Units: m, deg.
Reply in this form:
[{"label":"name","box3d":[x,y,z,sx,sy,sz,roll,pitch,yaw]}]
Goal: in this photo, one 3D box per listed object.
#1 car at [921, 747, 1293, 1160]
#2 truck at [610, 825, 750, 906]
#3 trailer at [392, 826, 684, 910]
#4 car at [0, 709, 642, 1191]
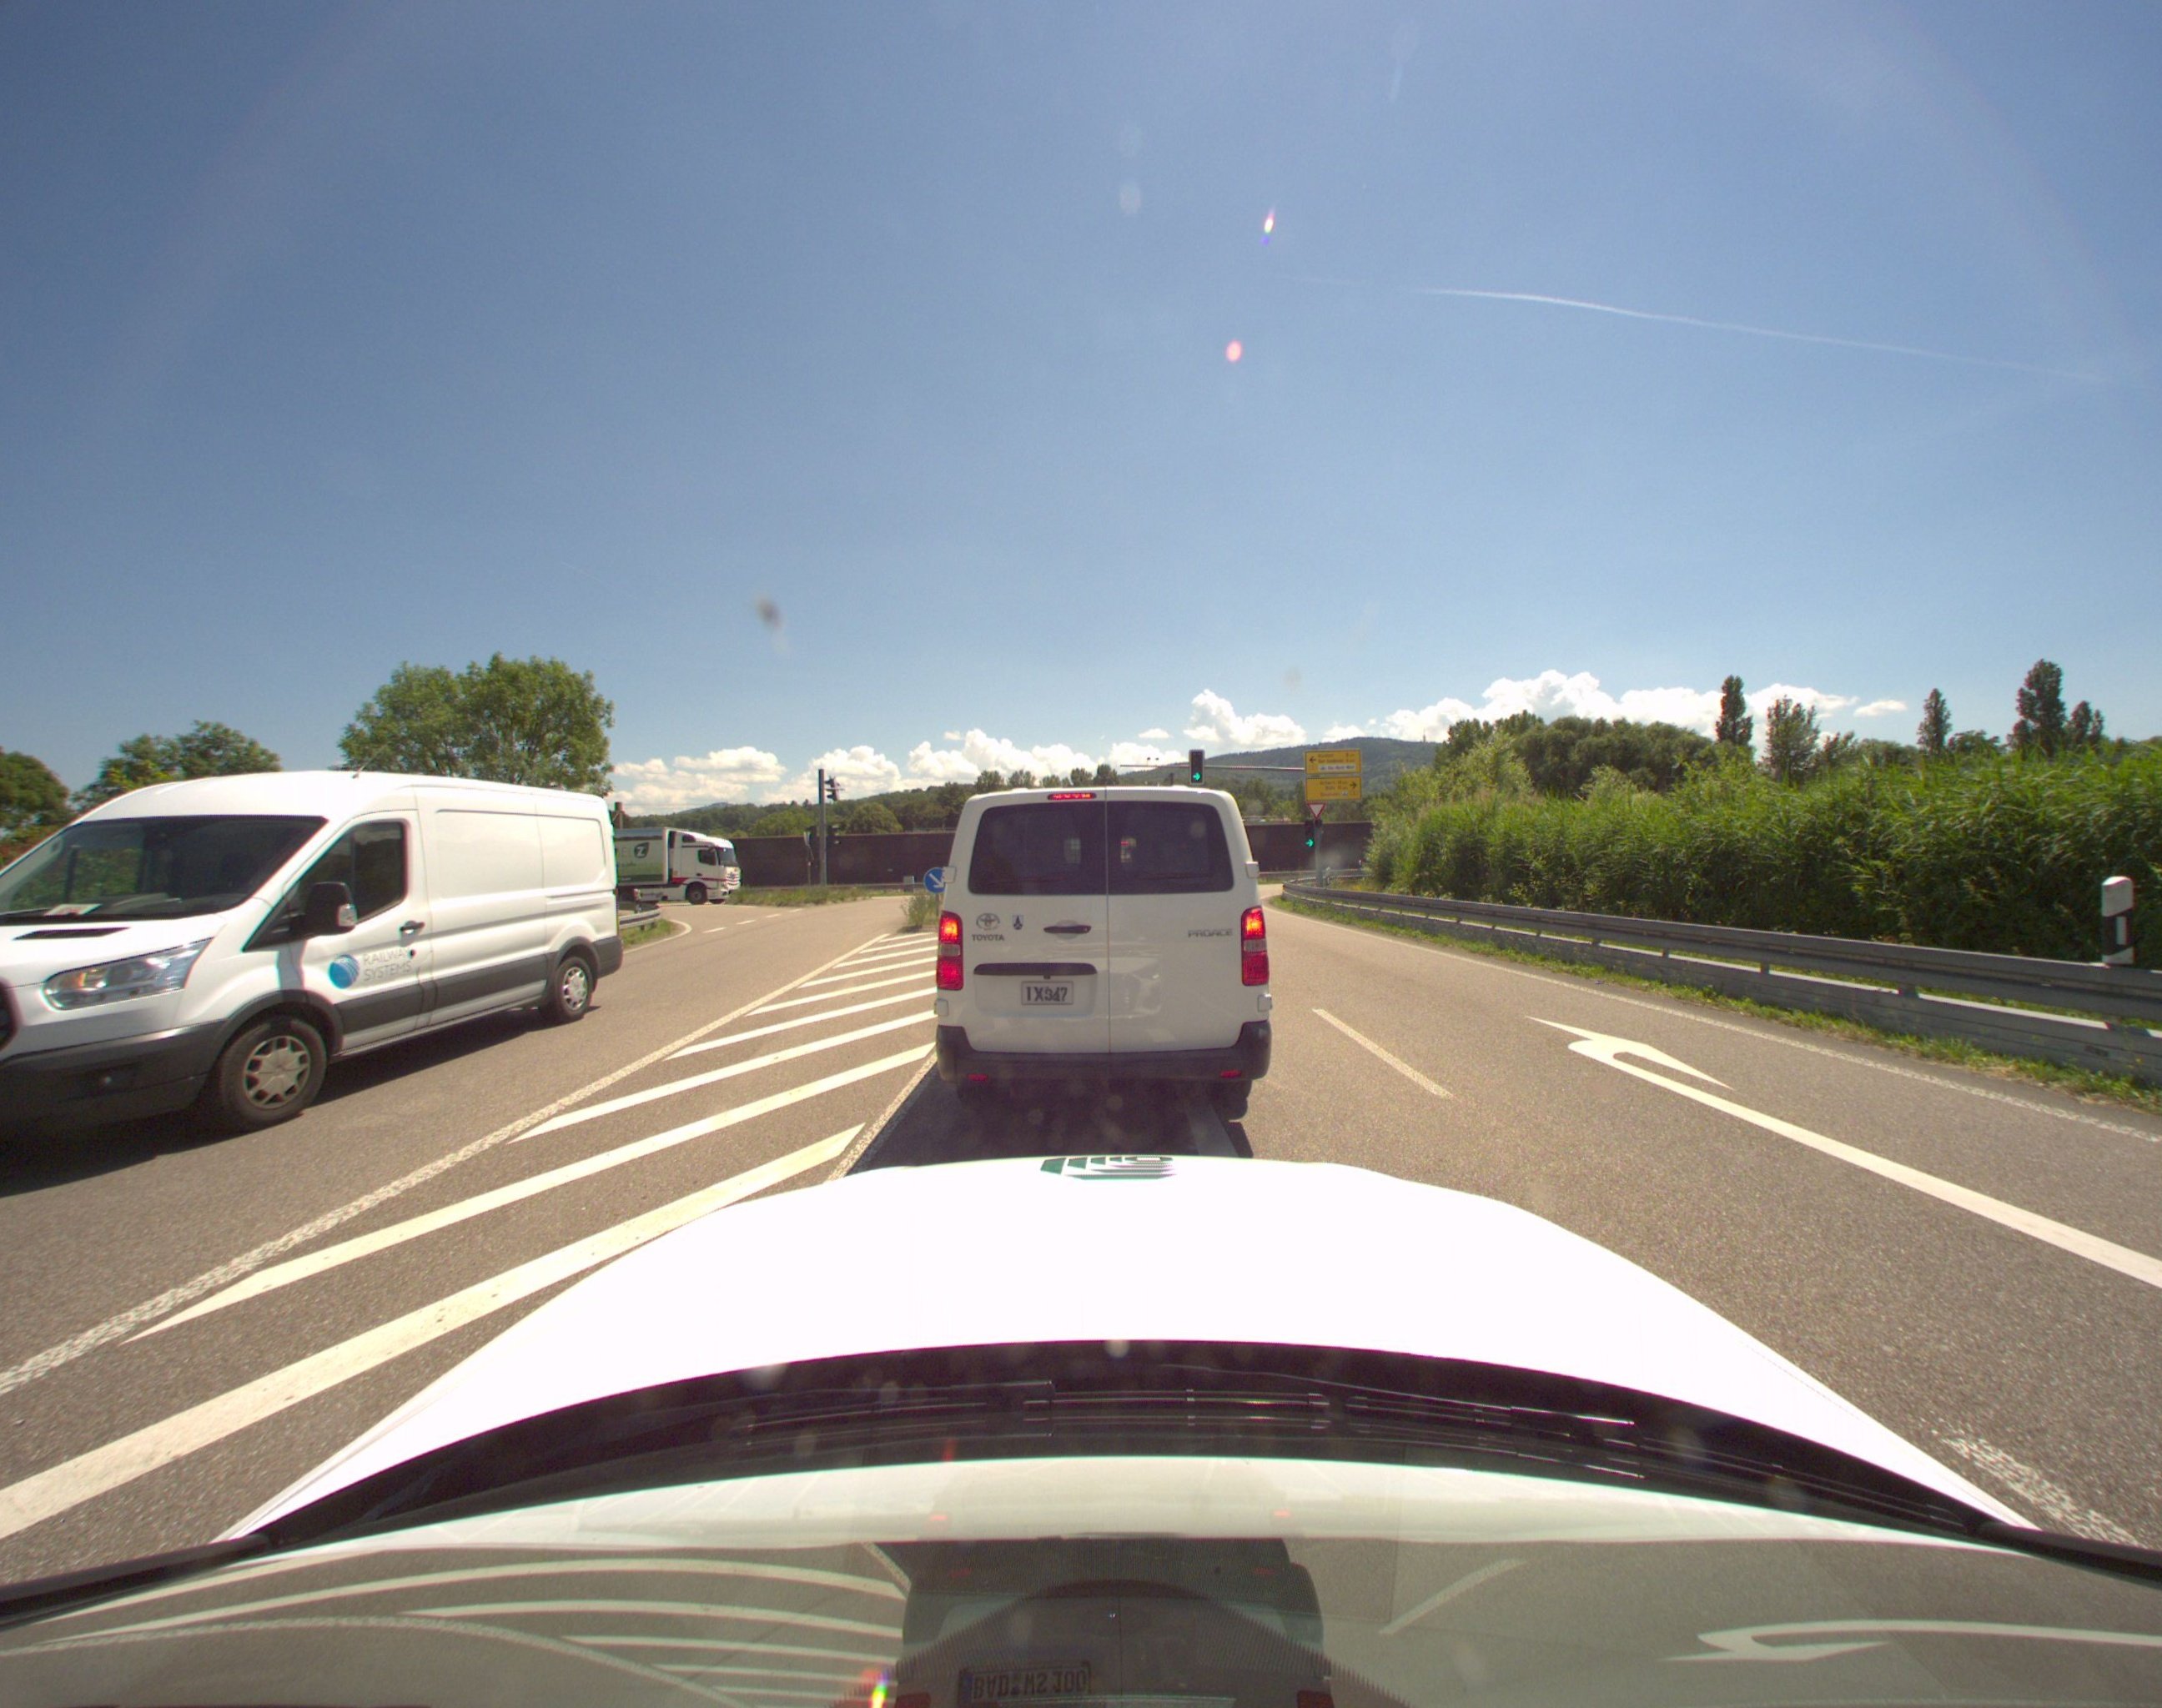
[{"label":"car","box3d":[0.187,0.511,6.042,1.808,2.017,4.001,-1,-1,2]},{"label":"truck","box3d":[-20.951,0.589,42.778,5.746,3.954,3.062,-1,-1,0]},{"label":"trailer","box3d":[-28.209,0.727,42.723,13.098,3.954,3.061,-1,-1,0]},{"label":"car","box3d":[-6.128,0.541,6.875,1.989,2.416,5.582,-3,0,-4]}]
